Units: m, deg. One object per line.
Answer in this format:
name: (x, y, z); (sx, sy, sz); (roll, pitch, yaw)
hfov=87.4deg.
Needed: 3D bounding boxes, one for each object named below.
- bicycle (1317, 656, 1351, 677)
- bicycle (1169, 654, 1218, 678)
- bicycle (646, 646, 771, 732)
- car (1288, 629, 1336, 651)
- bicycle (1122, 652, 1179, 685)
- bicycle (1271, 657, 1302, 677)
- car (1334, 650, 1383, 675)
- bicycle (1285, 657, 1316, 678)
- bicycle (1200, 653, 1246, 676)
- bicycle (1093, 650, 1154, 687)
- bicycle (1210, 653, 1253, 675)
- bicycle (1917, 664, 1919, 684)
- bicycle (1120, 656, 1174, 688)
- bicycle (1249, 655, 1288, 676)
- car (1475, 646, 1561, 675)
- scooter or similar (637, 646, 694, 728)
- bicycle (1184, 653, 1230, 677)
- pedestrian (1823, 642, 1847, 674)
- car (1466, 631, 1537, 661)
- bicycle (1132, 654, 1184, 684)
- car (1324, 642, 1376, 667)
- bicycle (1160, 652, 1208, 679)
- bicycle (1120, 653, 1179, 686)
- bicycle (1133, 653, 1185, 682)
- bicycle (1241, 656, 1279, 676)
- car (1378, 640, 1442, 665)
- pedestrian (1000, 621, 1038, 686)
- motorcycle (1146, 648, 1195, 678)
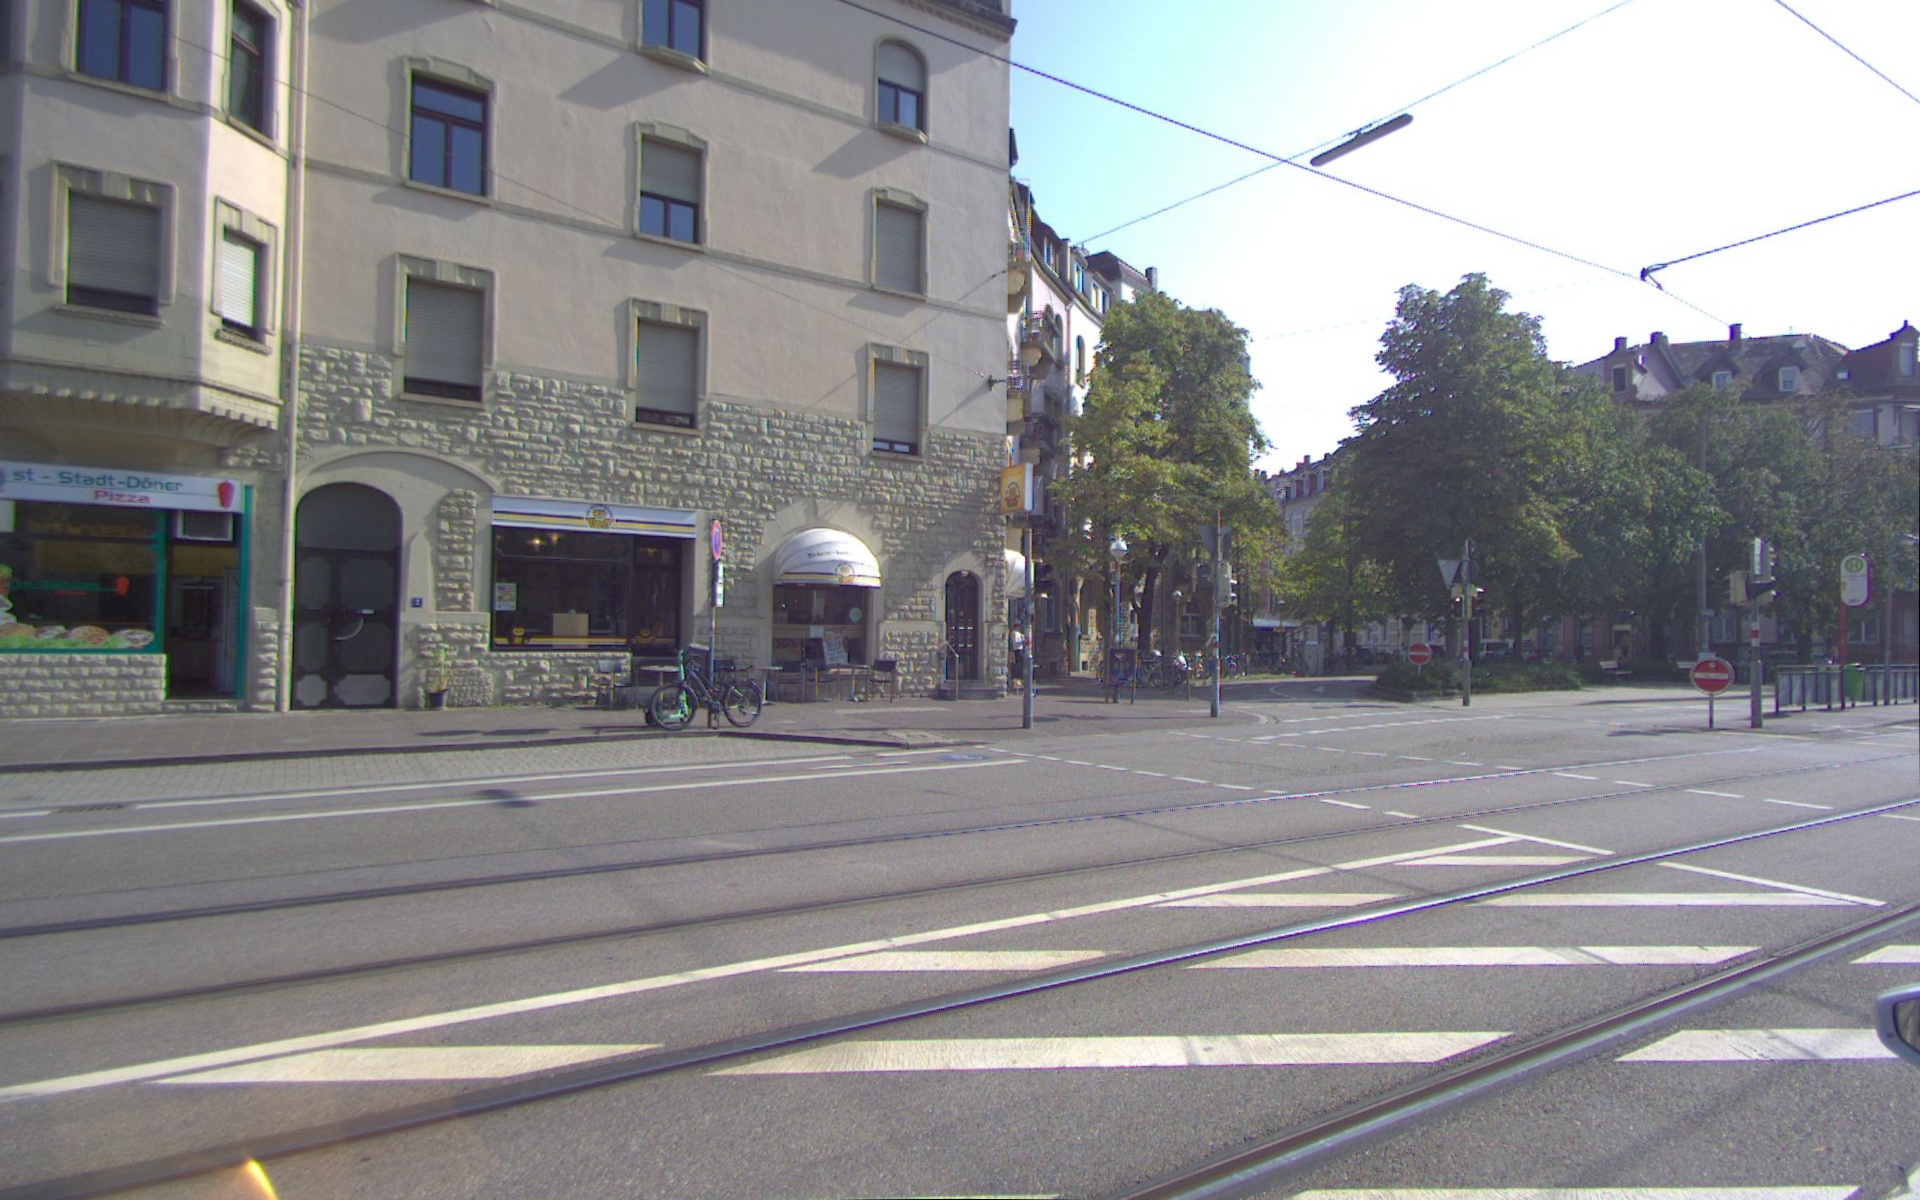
bicycle: (19.162, 3.400, 51.514); (0.597, 0.990, 1.761); (1, -2, -23)
bicycle: (9.845, 2.770, 42.352); (1.876, 0.947, 0.737); (0, -2, 26)
bicycle: (-3.803, 1.329, 15.319); (1.843, 1.242, 0.449); (2, -3, -41)
car: (30.861, 3.497, 88.083); (1.968, 1.852, 3.985); (1, -2, -18)
bicycle: (6.523, 2.327, 34.364); (1.841, 1.047, 0.570); (1, -2, 21)
bicycle: (16.020, 3.271, 49.242); (1.750, 0.990, 0.422); (2, -3, -32)
car: (32.200, 5.035, 81.262); (1.964, 1.852, 3.995); (1, -2, -9)
bicycle: (16.698, 3.286, 49.228); (1.750, 0.990, 0.422); (2, -3, -32)
bicycle: (11.690, 2.856, 44.623); (1.865, 0.993, 0.686); (0, -2, 26)
bicycle: (5.230, 2.195, 32.118); (1.845, 1.127, 0.569); (2, -2, -10)
bicycle: (12.424, 2.935, 46.003); (1.851, 0.947, 0.635); (-1, -3, 42)
bicycle: (48.842, 3.702, 49.839); (1.909, 0.990, 0.495); (-1, -3, 33)
bicycle: (5.860, 2.252, 31.462); (1.577, 0.932, 0.479); (1, -2, -1)
bicycle: (15.457, 3.284, 50.343); (1.742, 0.990, 0.603); (-1, -3, 37)
car: (32.686, 3.533, 59.010); (1.967, 1.589, 4.323); (1, -2, -16)
scooter or similar: (-4.542, 1.323, 15.536); (0.359, 1.213, 1.035); (0, -2, 13)
bicycle: (10.720, 2.808, 43.610); (1.865, 0.993, 0.686); (0, -2, 26)
pedestrian: (48.412, 3.191, 55.556); (0.756, 1.753, 0.752); (0, -2, 21)
car: (34.716, 2.967, 64.508); (1.964, 1.852, 3.995); (1, -2, -9)
bicycle: (7.040, 2.437, 35.706); (1.769, 0.997, 0.570); (1, -2, 19)
car: (30.160, 4.177, 77.779); (1.964, 1.852, 3.995); (1, -2, -9)
bicycle: (9.202, 2.666, 41.250); (1.843, 1.041, 0.664); (0, -2, 26)
bicycle: (6.192, 2.271, 32.905); (1.840, 1.016, 0.570); (1, -2, 5)
bicycle: (7.315, 2.464, 36.889); (1.769, 0.996, 0.661); (1, -2, 19)
bicycle: (14.870, 3.262, 49.824); (1.742, 0.990, 0.518); (-1, -3, 38)
car: (30.599, 3.563, 68.439); (1.964, 1.589, 4.330); (1, -2, -9)
pedestrian: (1.789, 1.608, 30.387); (0.767, 1.918, 0.887); (2, -2, -31)
motorcycle: (8.473, 2.526, 40.437); (1.839, 1.169, 0.607); (0, -2, 26)
